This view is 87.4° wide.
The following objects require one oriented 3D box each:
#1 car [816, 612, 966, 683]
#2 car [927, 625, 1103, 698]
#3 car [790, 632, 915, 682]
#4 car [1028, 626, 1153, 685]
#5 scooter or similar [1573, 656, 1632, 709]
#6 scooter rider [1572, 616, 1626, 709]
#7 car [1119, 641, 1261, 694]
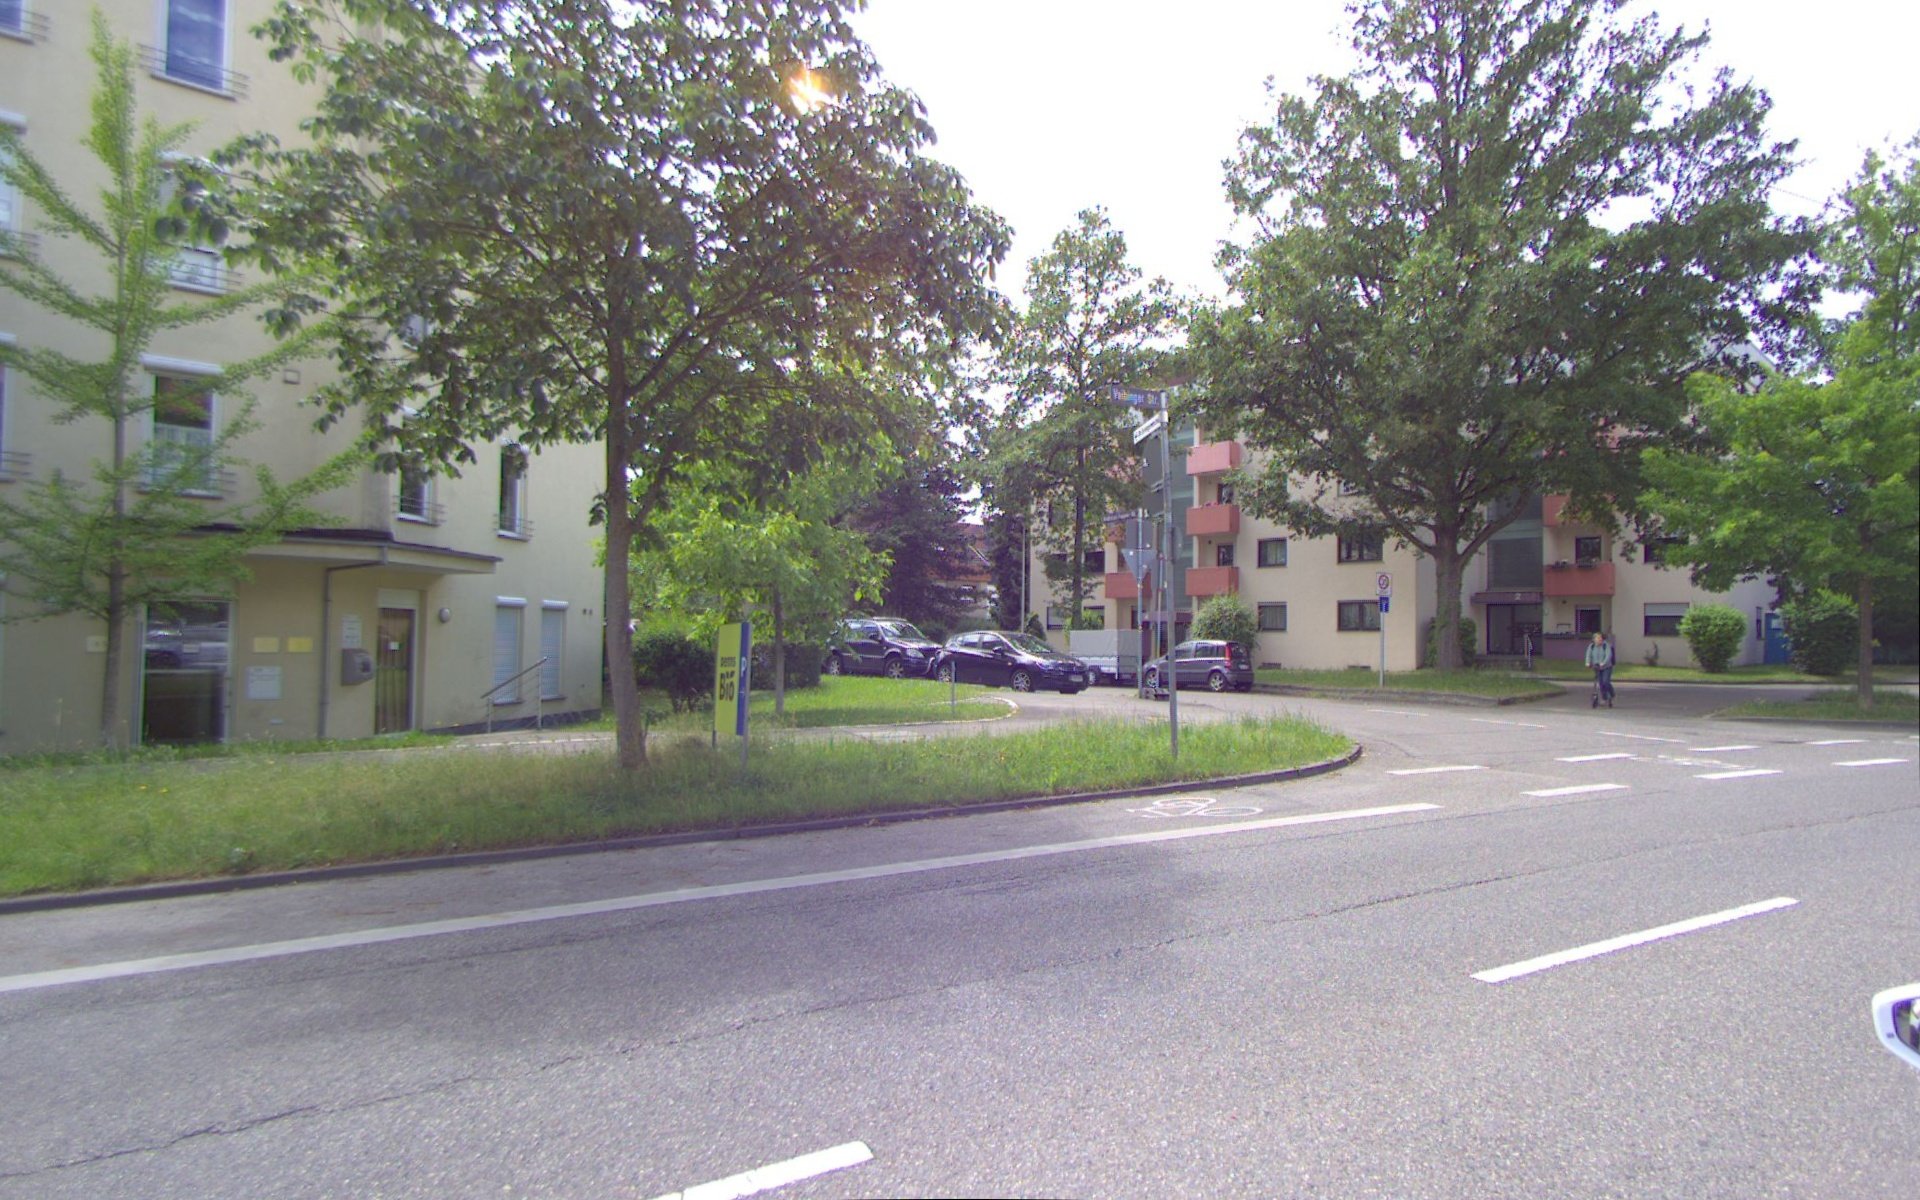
[{"bbox_3d":[-1.998,1.245,27.812,1.857,1.675,4.379,2,0,-41],"label":"car"},{"bbox_3d":[1.221,1.385,23.773,1.725,1.417,4.100,2,0,-42],"label":"car"},{"bbox_3d":[-4.144,2.149,38.737,4.337,1.817,2.124,-1,-2,28],"label":"car"},{"bbox_3d":[4.370,1.927,34.117,1.832,1.868,3.952,2,-5,-42],"label":"car"},{"bbox_3d":[14.438,1.839,22.579,0.934,1.098,0.753,2,0,-30],"label":"scooter or similar"},{"bbox_3d":[14.364,1.390,22.587,0.785,2.040,0.673,2,0,-30],"label":"scooter rider"},{"bbox_3d":[6.958,2.008,30.648,3.945,1.471,1.687,-2,-3,43],"label":"car"}]
